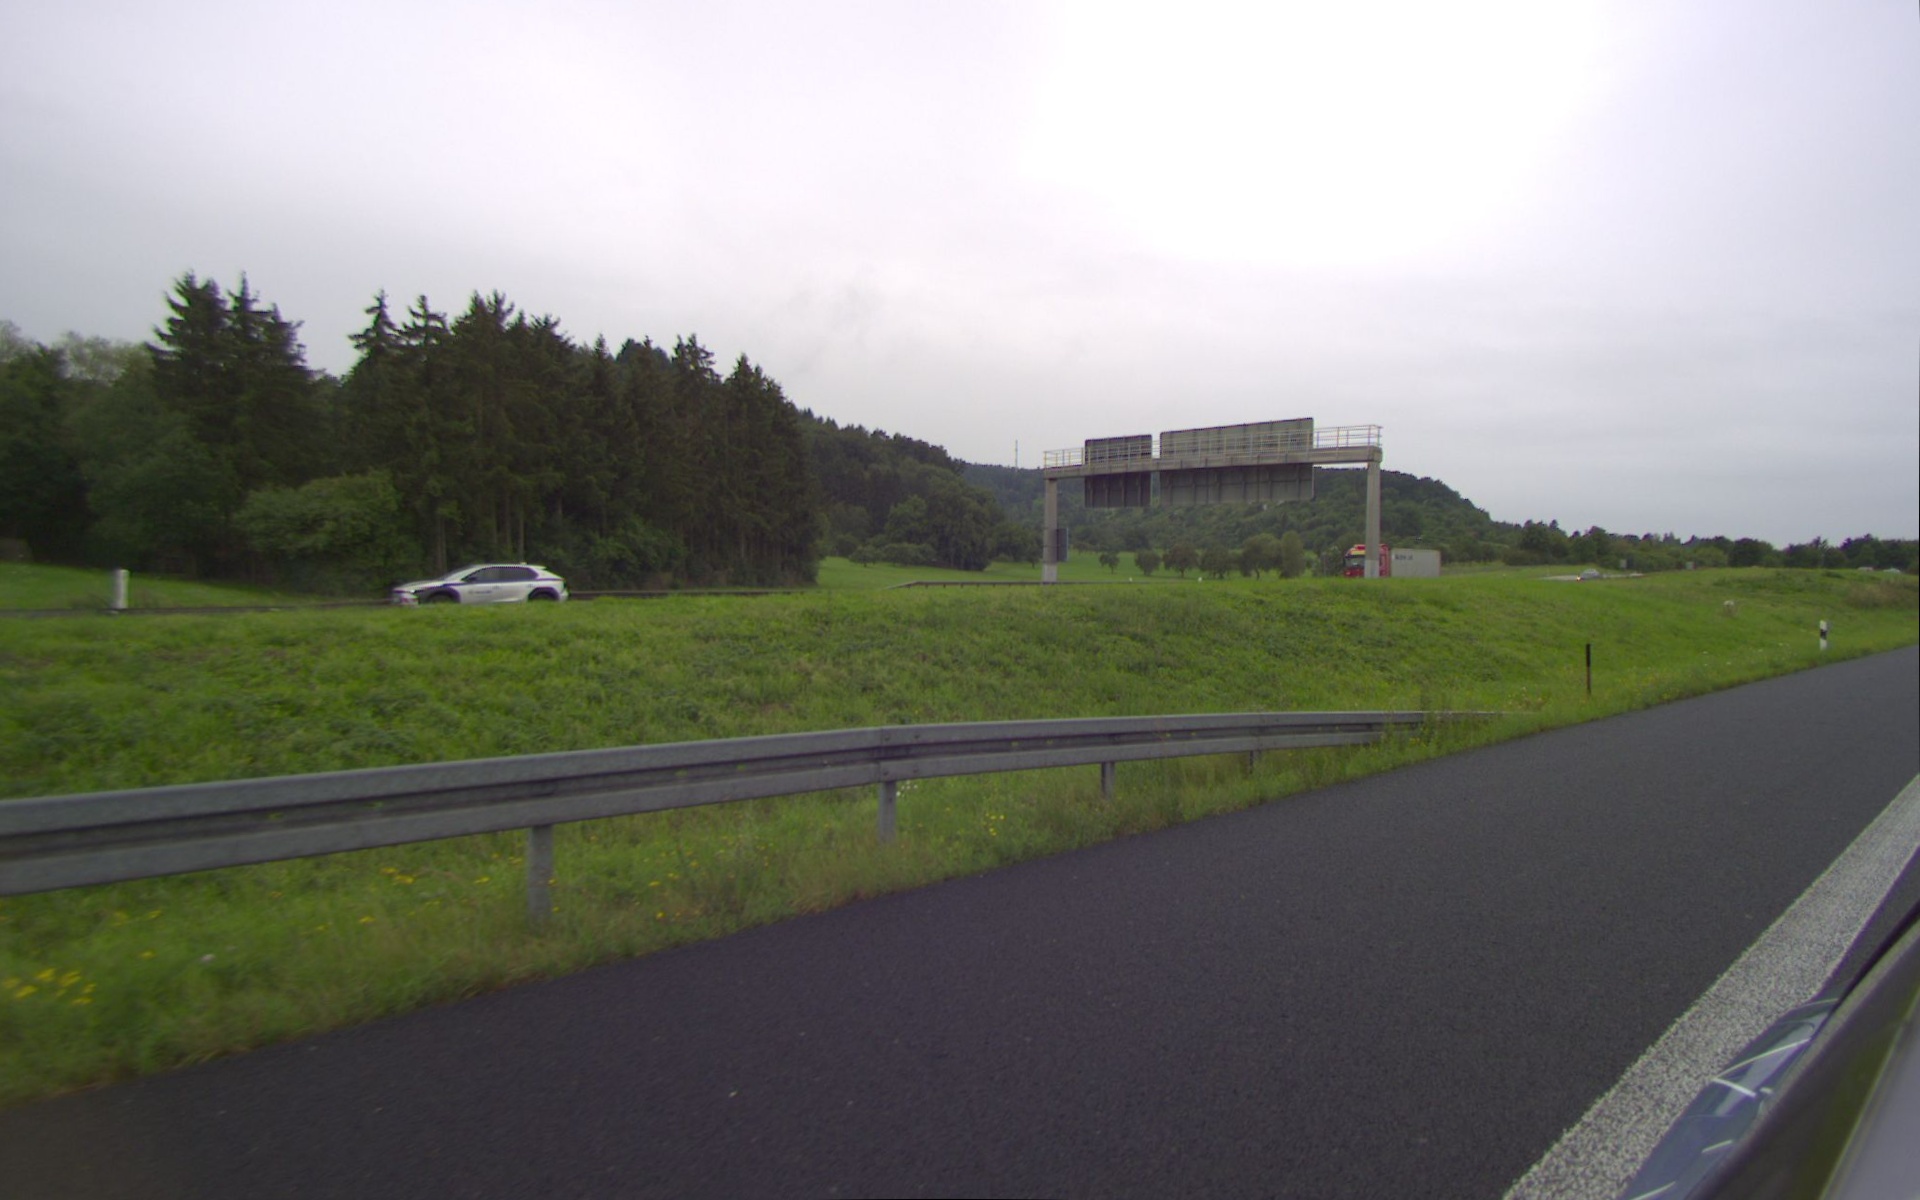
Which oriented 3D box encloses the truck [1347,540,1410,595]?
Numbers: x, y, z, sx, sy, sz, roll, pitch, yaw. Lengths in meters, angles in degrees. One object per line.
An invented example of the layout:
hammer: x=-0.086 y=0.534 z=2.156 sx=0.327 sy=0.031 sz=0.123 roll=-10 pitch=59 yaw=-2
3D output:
truck: x=32.180 y=-2.404 z=77.671 sx=2.508 sy=4.037 sz=5.834 roll=-1 pitch=0 yaw=44

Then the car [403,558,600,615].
car: x=-13.371 y=-0.401 z=29.739 sx=4.948 sy=1.522 sz=1.821 roll=0 pitch=1 yaw=-44

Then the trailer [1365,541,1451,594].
trailer: x=36.623 y=-2.499 z=82.366 sx=2.490 sy=4.034 sz=12.212 roll=-1 pitch=0 yaw=43
